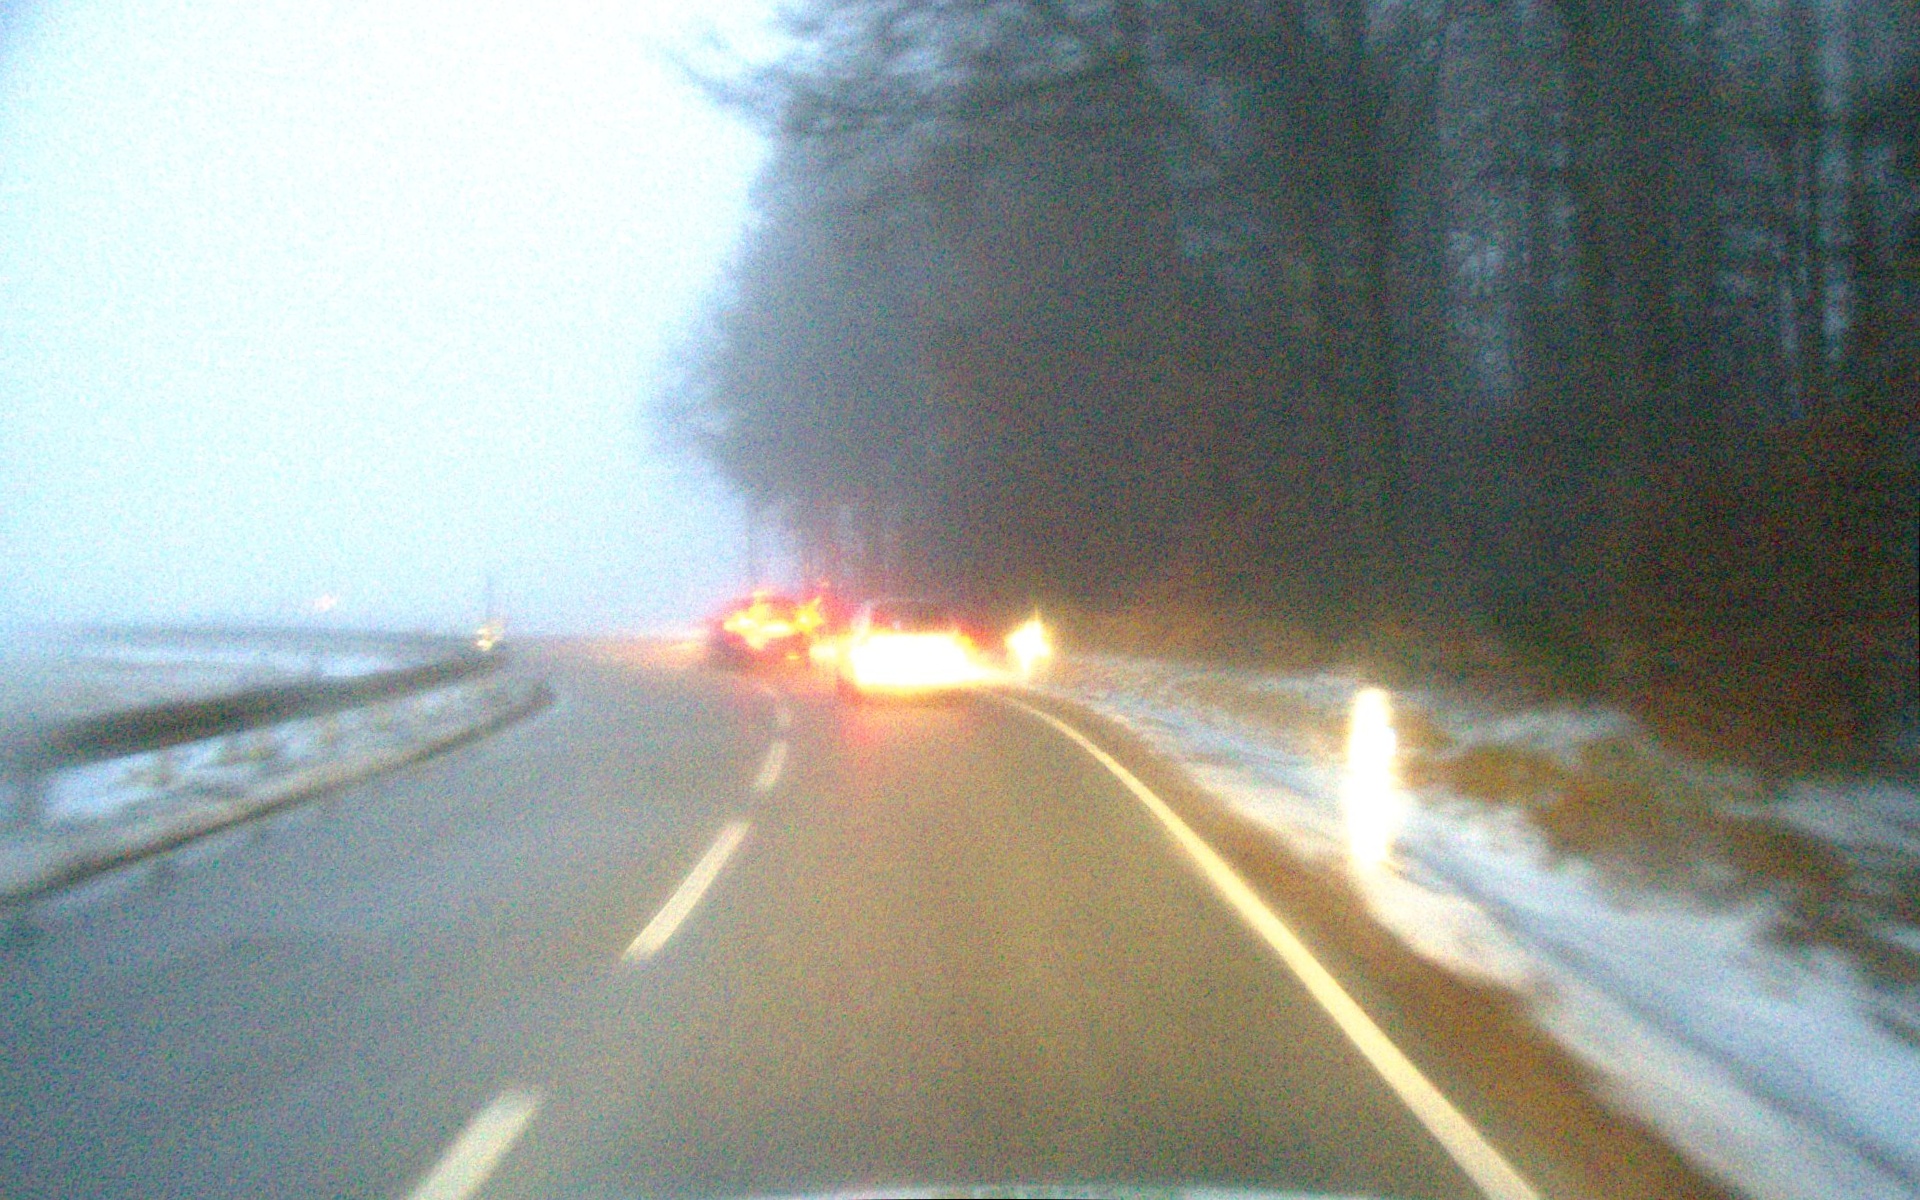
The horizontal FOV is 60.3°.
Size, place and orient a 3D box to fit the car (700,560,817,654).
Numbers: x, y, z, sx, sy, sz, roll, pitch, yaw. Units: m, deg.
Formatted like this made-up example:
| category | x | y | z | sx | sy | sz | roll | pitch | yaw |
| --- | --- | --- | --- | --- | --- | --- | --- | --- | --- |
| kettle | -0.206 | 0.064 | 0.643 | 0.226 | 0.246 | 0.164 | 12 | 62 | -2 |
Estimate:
| category | x | y | z | sx | sy | sz | roll | pitch | yaw |
| --- | --- | --- | --- | --- | --- | --- | --- | --- | --- |
| car | -4.398 | 0.125 | 35.563 | 1.960 | 1.814 | 3.986 | 3 | 0 | -14 |

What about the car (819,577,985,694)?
| category | x | y | z | sx | sy | sz | roll | pitch | yaw |
| --- | --- | --- | --- | --- | --- | --- | --- | --- | --- |
| car | -0.920 | 0.473 | 23.818 | 1.909 | 1.405 | 3.993 | 4 | -1 | -8 |
